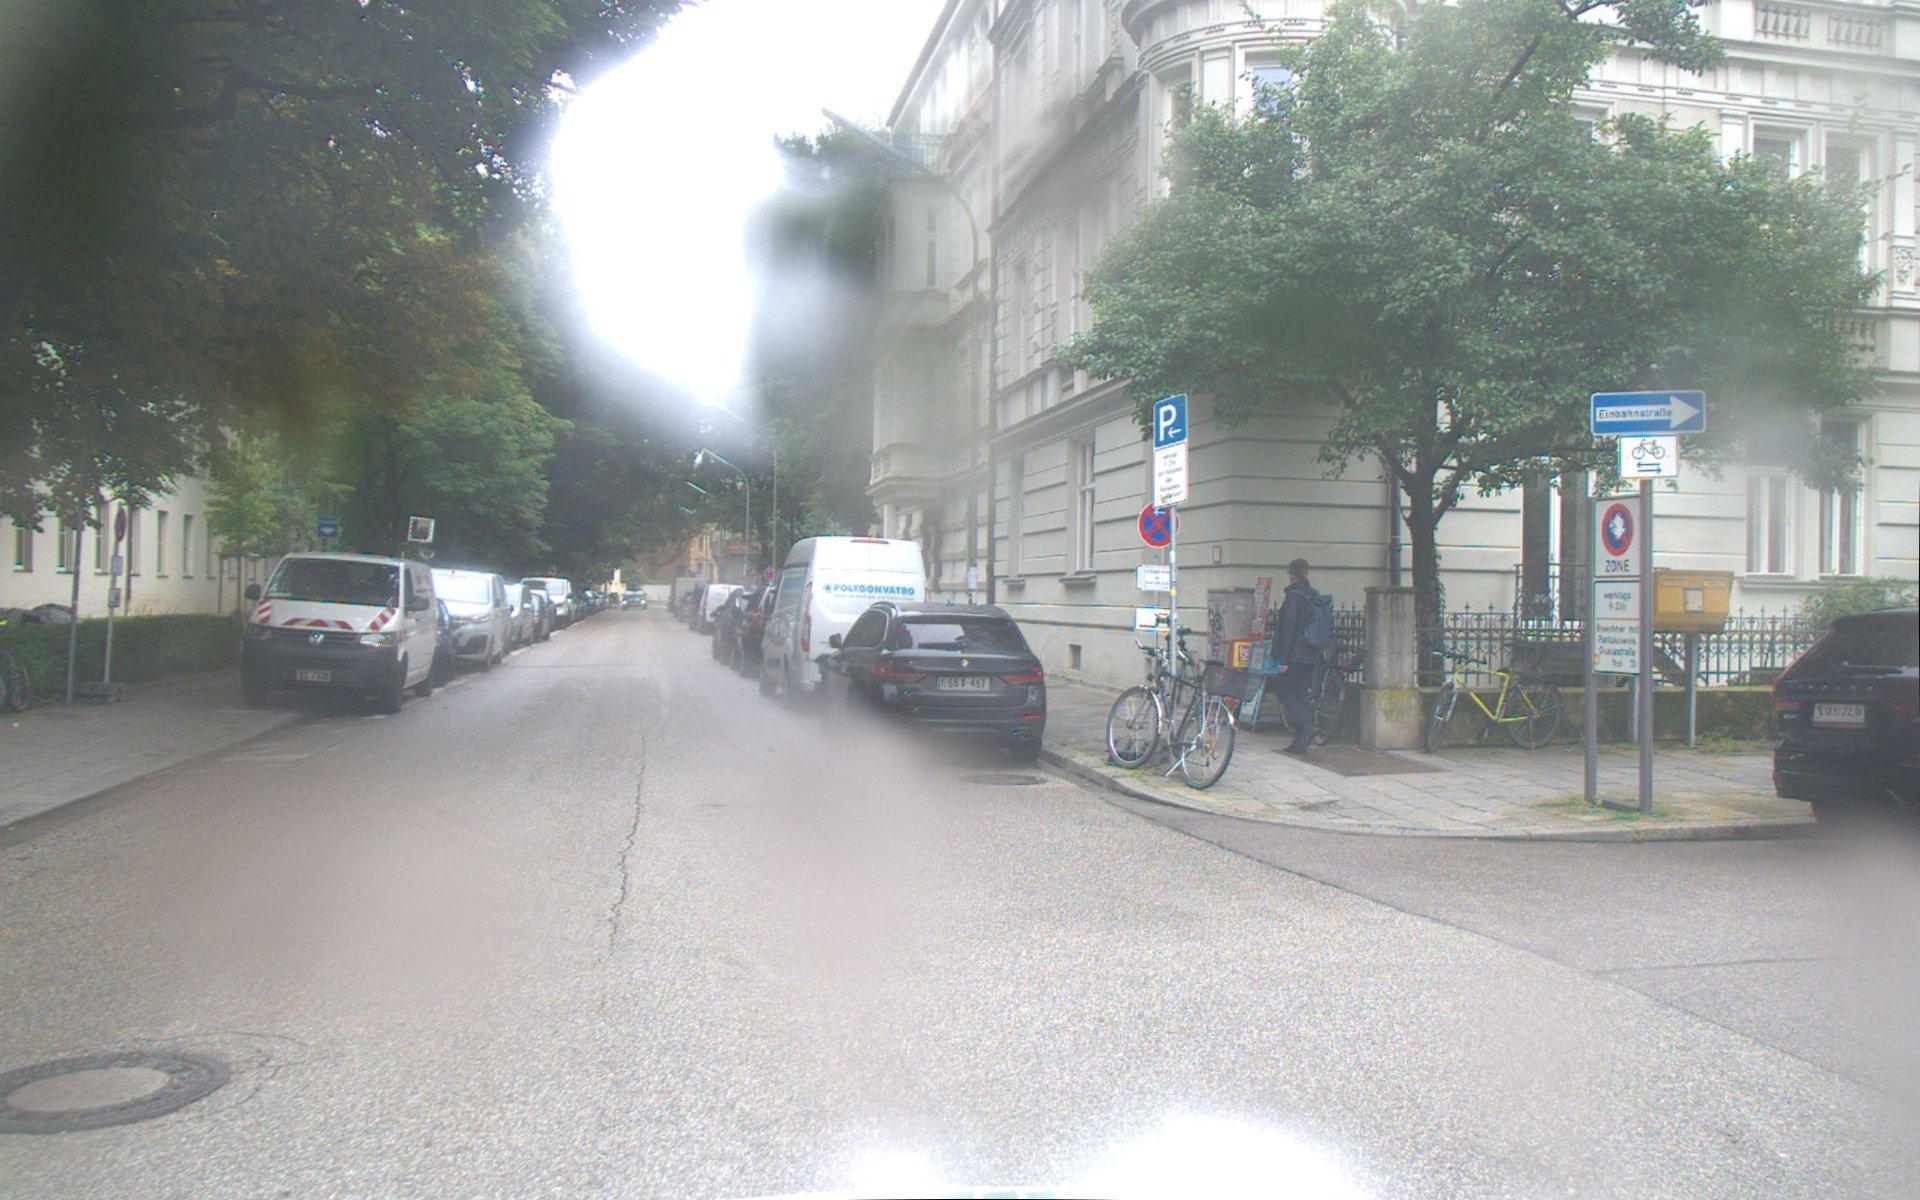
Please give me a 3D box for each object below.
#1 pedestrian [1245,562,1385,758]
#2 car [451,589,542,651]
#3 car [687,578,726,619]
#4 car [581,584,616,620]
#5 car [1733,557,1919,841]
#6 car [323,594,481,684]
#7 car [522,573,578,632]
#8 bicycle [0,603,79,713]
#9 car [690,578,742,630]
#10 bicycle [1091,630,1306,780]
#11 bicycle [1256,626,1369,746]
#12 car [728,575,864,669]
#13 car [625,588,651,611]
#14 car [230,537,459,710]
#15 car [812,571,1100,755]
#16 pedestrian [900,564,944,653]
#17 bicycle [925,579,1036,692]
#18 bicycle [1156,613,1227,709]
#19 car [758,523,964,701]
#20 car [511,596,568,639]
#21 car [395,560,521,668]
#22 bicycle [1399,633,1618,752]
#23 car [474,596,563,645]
[{"bbox_3d":[3.250,0.525,15.180,0.846,1.719,0.968,-1,0,-24],"label":"pedestrian"},{"bbox_3d":[-12.483,0.498,44.790,2.033,1.546,4.225,2,0,-12],"label":"car"},{"bbox_3d":[-12.989,-0.093,84.696,1.957,2.049,3.991,0,0,-9],"label":"car"},{"bbox_3d":[-23.014,0.109,105.299,2.013,2.192,4.298,2,0,-14],"label":"car"},{"bbox_3d":[7.956,0.647,11.045,4.952,1.681,1.936,1,-3,-15],"label":"car"},{"bbox_3d":[-9.308,0.611,27.919,2.175,1.353,3.934,2,0,-14],"label":"car"},{"bbox_3d":[-16.308,0.080,65.992,1.967,2.225,4.681,2,0,-12],"label":"car"},{"bbox_3d":[-10.203,0.599,17.899,0.621,1.122,1.763,2,0,-9],"label":"bicycle"},{"bbox_3d":[-9.732,0.130,65.828,1.957,2.010,3.991,0,0,-9],"label":"car"},{"bbox_3d":[1.937,0.823,13.803,0.646,1.046,2.183,0,2,-27],"label":"bicycle"},{"bbox_3d":[3.468,0.819,16.411,0.422,1.046,1.886,0,1,-10],"label":"bicycle"},{"bbox_3d":[-3.286,0.397,32.326,2.101,1.658,4.301,-1,0,-13],"label":"car"},{"bbox_3d":[-26.107,-0.040,134.291,1.957,1.814,3.991,0,0,-9],"label":"car"},{"bbox_3d":[-8.045,0.275,22.152,2.210,1.991,5.433,2,0,-14],"label":"car"},{"bbox_3d":[-0.222,0.542,16.863,2.231,1.573,4.577,-1,0,-9],"label":"car"},{"bbox_3d":[-0.811,0.182,35.344,0.843,1.867,0.665,0,0,-11],"label":"pedestrian"},{"bbox_3d":[0.264,0.473,23.563,0.699,1.542,2.020,0,0,-28],"label":"bicycle"},{"bbox_3d":[2.766,0.706,19.885,0.535,1.079,1.750,0,0,-2],"label":"bicycle"},{"bbox_3d":[-1.548,0.142,23.681,2.166,2.247,4.839,-1,0,-13],"label":"car"},{"bbox_3d":[-14.439,0.583,56.863,1.789,1.353,4.085,2,0,-14],"label":"car"},{"bbox_3d":[-10.109,0.256,33.663,2.147,1.991,5.147,2,0,-14],"label":"car"},{"bbox_3d":[5.105,0.847,15.418,1.887,1.046,0.556,0,1,-9],"label":"bicycle"},{"bbox_3d":[-13.208,0.580,49.655,2.079,1.353,4.130,2,0,-9],"label":"car"}]
